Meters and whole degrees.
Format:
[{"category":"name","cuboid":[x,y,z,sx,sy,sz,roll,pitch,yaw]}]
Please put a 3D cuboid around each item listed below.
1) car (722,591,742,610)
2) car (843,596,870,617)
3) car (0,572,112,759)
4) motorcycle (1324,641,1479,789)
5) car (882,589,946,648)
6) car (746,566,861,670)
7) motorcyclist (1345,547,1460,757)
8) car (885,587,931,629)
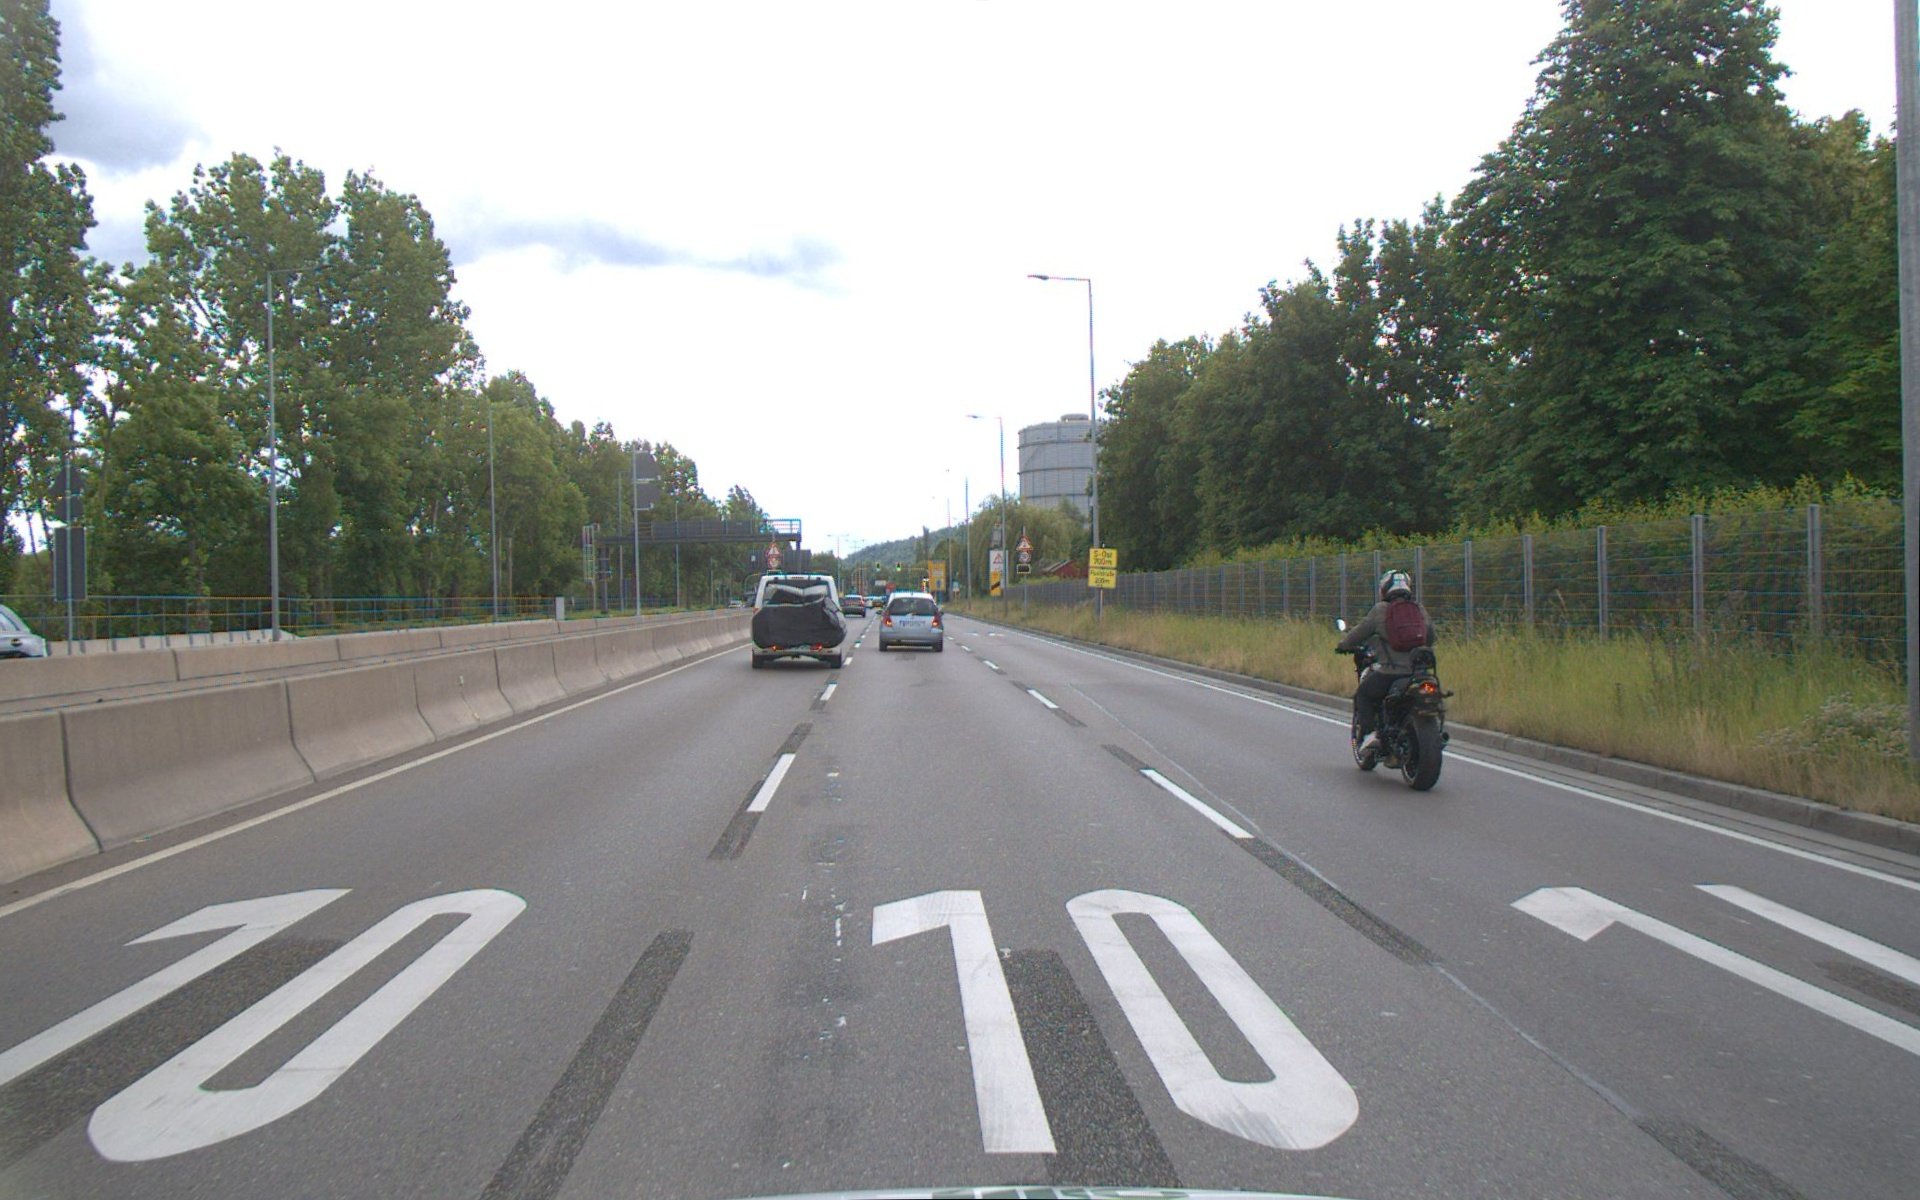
[{"category":"car","cuboid":[-25.474,0.089,185.137,1.954,2.049,3.996,1,0,-4]},{"category":"car","cuboid":[-7.783,0.479,124.814,1.954,1.579,3.997,1,0,-4]},{"category":"car","cuboid":[-11.175,0.670,17.136,2.282,1.959,5.000,1,0,-2]},{"category":"motorcycle","cuboid":[3.575,0.897,13.568,0.692,1.058,2.026,1,0,-1]},{"category":"car","cuboid":[-1.318,0.494,46.007,1.676,1.557,3.998,1,0,-3]},{"category":"car","cuboid":[-3.289,0.345,34.375,2.172,1.959,4.995,1,0,-6]},{"category":"motorcyclist","cuboid":[3.585,0.410,13.454,0.671,1.638,0.845,1,0,-1]},{"category":"car","cuboid":[-2.229,0.333,70.474,1.869,1.713,3.998,1,0,-2]}]
